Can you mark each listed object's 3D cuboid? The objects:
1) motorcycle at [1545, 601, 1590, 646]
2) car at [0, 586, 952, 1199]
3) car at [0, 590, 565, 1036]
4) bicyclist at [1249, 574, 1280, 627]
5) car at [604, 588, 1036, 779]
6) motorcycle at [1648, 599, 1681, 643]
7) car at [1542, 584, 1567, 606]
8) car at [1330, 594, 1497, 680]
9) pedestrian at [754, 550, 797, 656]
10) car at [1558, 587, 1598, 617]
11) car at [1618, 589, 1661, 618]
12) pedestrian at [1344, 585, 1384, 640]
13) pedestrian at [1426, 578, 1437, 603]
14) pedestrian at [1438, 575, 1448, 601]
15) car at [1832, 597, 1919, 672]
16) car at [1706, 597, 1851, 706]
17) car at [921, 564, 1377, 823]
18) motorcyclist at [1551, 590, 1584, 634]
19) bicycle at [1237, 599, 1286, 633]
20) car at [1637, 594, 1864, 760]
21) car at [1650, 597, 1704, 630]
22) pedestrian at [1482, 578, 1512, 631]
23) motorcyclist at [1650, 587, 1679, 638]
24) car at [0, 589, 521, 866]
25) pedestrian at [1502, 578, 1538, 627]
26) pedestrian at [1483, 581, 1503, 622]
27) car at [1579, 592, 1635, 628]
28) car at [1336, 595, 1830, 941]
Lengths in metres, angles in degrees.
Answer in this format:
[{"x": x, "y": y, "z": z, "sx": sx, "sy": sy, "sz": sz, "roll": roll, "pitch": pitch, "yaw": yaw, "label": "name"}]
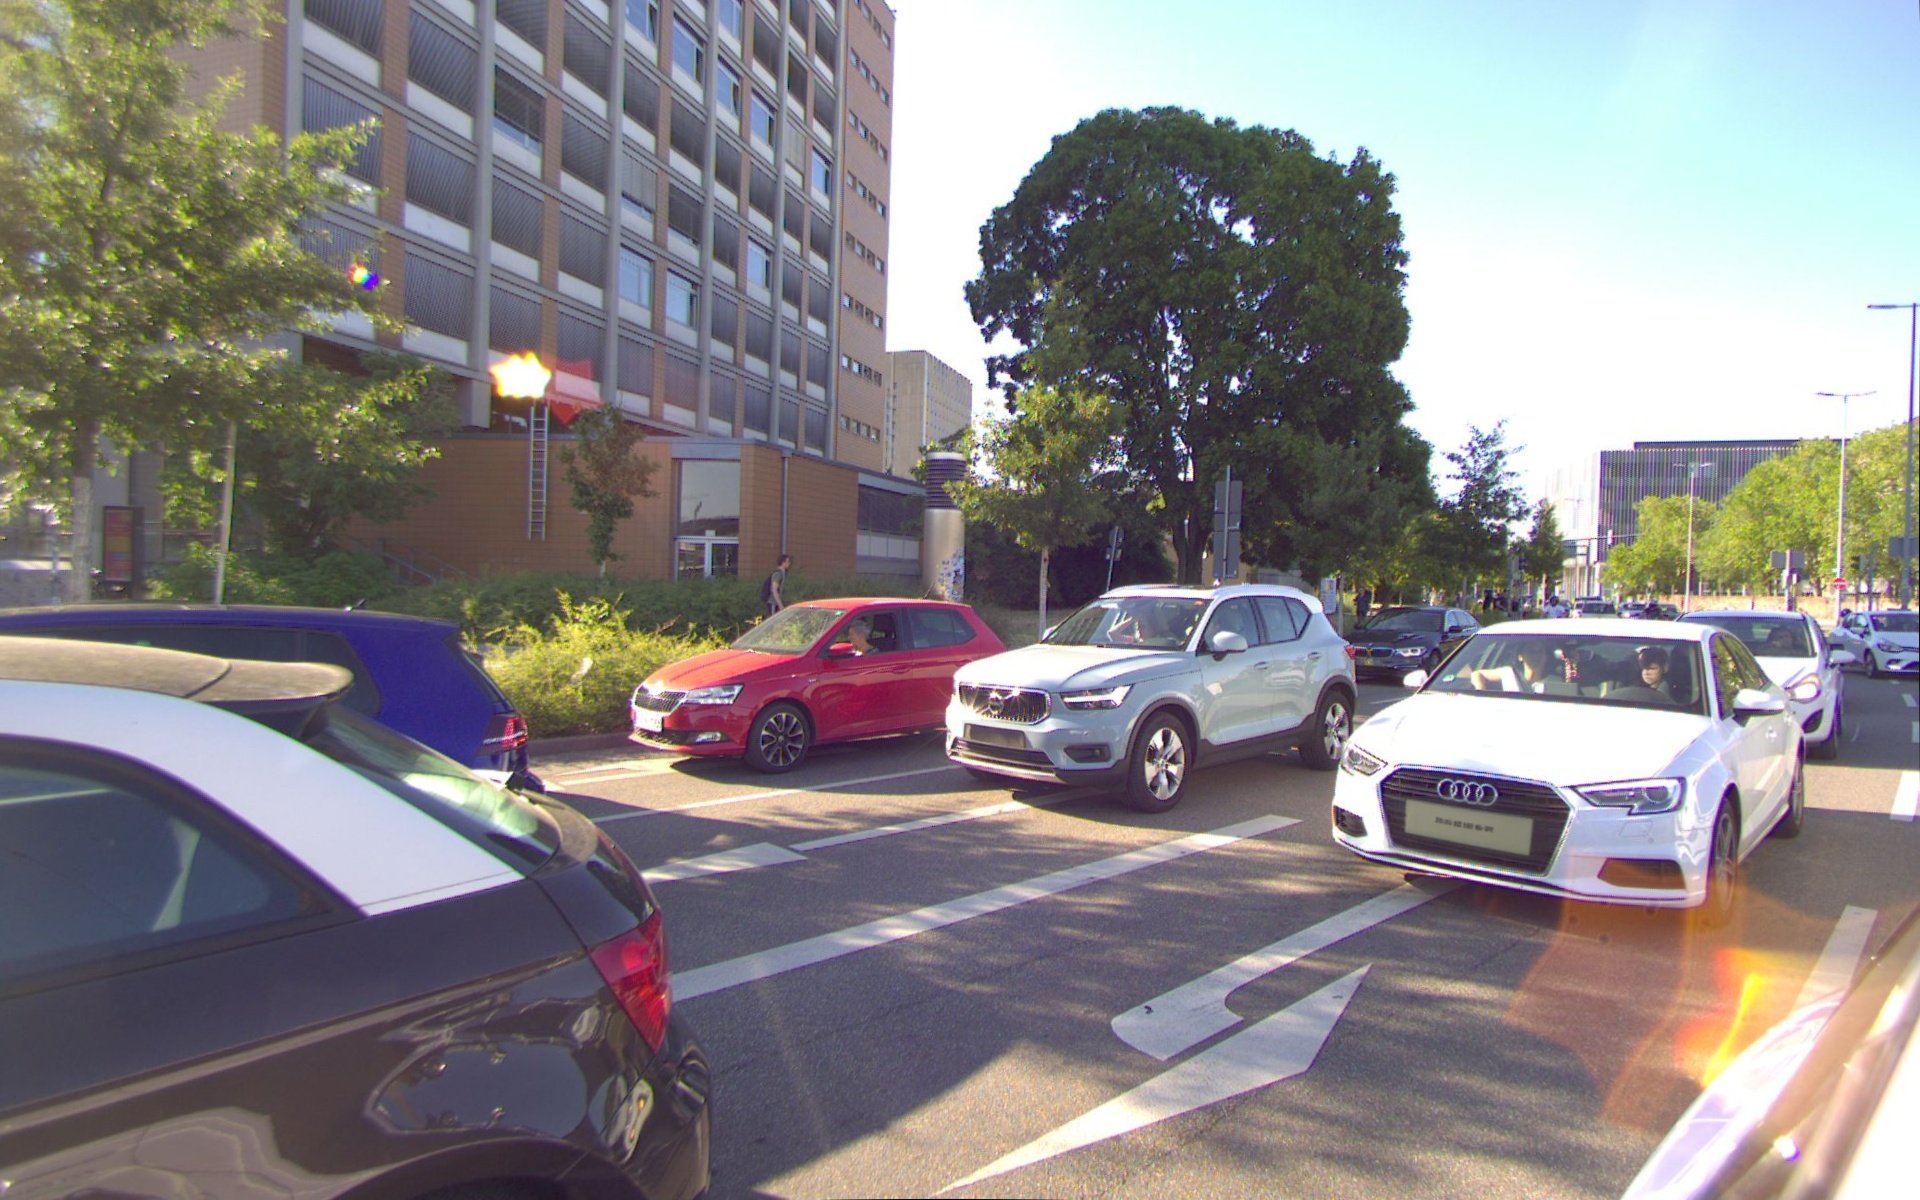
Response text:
[{"x": 18.790, "y": 0.696, "z": 31.280, "sx": 0.716, "sy": 1.321, "sz": 2.199, "roll": 0, "pitch": 0, "yaw": 44, "label": "motorcycle"}, {"x": -2.024, "y": 0.700, "z": 1.299, "sx": 3.930, "sy": 1.422, "sz": 1.626, "roll": -1, "pitch": 0, "yaw": -41, "label": "car"}, {"x": -3.734, "y": 0.685, "z": 3.752, "sx": 3.930, "sy": 1.422, "sz": 1.626, "roll": -1, "pitch": 0, "yaw": -41, "label": "car"}, {"x": 9.359, "y": 0.013, "z": 31.093, "sx": 0.615, "sy": 1.580, "sz": 0.858, "roll": 0, "pitch": 0, "yaw": 41, "label": "bicyclist"}, {"x": -1.200, "y": 0.631, "z": 9.844, "sx": 3.974, "sy": 1.478, "sz": 1.625, "roll": -1, "pitch": 0, "yaw": -43, "label": "car"}, {"x": 22.593, "y": 0.653, "z": 32.429, "sx": 0.714, "sy": 1.321, "sz": 2.203, "roll": 0, "pitch": 0, "yaw": 39, "label": "motorcycle"}, {"x": 50.528, "y": -0.440, "z": 86.045, "sx": 1.731, "sy": 1.727, "sz": 3.959, "roll": 2, "pitch": 1, "yaw": 29, "label": "car"}, {"x": 8.987, "y": 0.636, "z": 19.898, "sx": 1.750, "sy": 1.478, "sz": 4.123, "roll": 0, "pitch": 1, "yaw": 43, "label": "car"}, {"x": -3.388, "y": 0.045, "z": 18.611, "sx": 0.681, "sy": 1.910, "sz": 0.465, "roll": 0, "pitch": 0, "yaw": -24, "label": "pedestrian"}, {"x": 37.541, "y": 0.112, "z": 61.544, "sx": 1.730, "sy": 1.727, "sz": 3.962, "roll": 2, "pitch": 1, "yaw": 27, "label": "car"}, {"x": 43.241, "y": 0.183, "z": 64.488, "sx": 1.730, "sy": 1.727, "sz": 3.962, "roll": 2, "pitch": 1, "yaw": 27, "label": "car"}, {"x": 13.189, "y": 0.395, "z": 33.032, "sx": 1.005, "sy": 1.742, "sz": 0.873, "roll": 0, "pitch": 0, "yaw": 39, "label": "pedestrian"}, {"x": 29.522, "y": -0.616, "z": 63.338, "sx": 0.543, "sy": 1.549, "sz": 0.598, "roll": 0, "pitch": 0, "yaw": 30, "label": "pedestrian"}, {"x": 30.079, "y": -0.745, "z": 62.997, "sx": 0.543, "sy": 1.627, "sz": 0.598, "roll": 0, "pitch": 0, "yaw": 30, "label": "pedestrian"}, {"x": 20.649, "y": 0.694, "z": 21.965, "sx": 1.740, "sy": 1.478, "sz": 4.147, "roll": 0, "pitch": 0, "yaw": 28, "label": "car"}, {"x": 13.104, "y": 0.713, "z": 16.118, "sx": 1.622, "sy": 1.478, "sz": 3.981, "roll": 0, "pitch": 0, "yaw": 42, "label": "car"}, {"x": 1.766, "y": 0.570, "z": 8.458, "sx": 4.153, "sy": 1.641, "sz": 1.625, "roll": -1, "pitch": 0, "yaw": -43, "label": "car"}, {"x": 18.720, "y": 0.364, "z": 31.204, "sx": 0.716, "sy": 1.321, "sz": 0.723, "roll": 0, "pitch": 0, "yaw": 45, "label": "motorcyclist"}, {"x": 9.250, "y": 0.473, "z": 30.982, "sx": 0.657, "sy": 0.975, "sz": 2.005, "roll": 2, "pitch": 2, "yaw": 41, "label": "bicycle"}, {"x": 8.865, "y": 0.691, "z": 11.223, "sx": 1.623, "sy": 1.478, "sz": 3.979, "roll": 0, "pitch": 0, "yaw": 43, "label": "car"}, {"x": 36.310, "y": 0.653, "z": 51.329, "sx": 1.731, "sy": 1.564, "sz": 3.960, "roll": 2, "pitch": 1, "yaw": 29, "label": "car"}, {"x": 20.908, "y": 0.156, "z": 39.383, "sx": 0.891, "sy": 2.039, "sz": 0.870, "roll": 0, "pitch": 0, "yaw": 39, "label": "pedestrian"}, {"x": 22.516, "y": 0.380, "z": 32.336, "sx": 0.707, "sy": 1.610, "sz": 0.680, "roll": 0, "pitch": 0, "yaw": 38, "label": "motorcyclist"}, {"x": -5.237, "y": 0.654, "z": 6.143, "sx": 4.433, "sy": 1.422, "sz": 1.726, "roll": -1, "pitch": 0, "yaw": -41, "label": "car"}, {"x": 23.771, "y": 0.107, "z": 42.928, "sx": 1.137, "sy": 2.039, "sz": 1.268, "roll": 0, "pitch": 0, "yaw": 39, "label": "pedestrian"}, {"x": 21.230, "y": 0.038, "z": 40.338, "sx": 0.593, "sy": 1.615, "sz": 0.586, "roll": 0, "pitch": 0, "yaw": 41, "label": "pedestrian"}, {"x": 30.068, "y": 0.416, "z": 46.961, "sx": 1.738, "sy": 1.544, "sz": 3.943, "roll": 2, "pitch": 1, "yaw": 39, "label": "car"}, {"x": 3.937, "y": 0.691, "z": 6.118, "sx": 3.769, "sy": 1.422, "sz": 1.625, "roll": -1, "pitch": 0, "yaw": -43, "label": "car"}]
